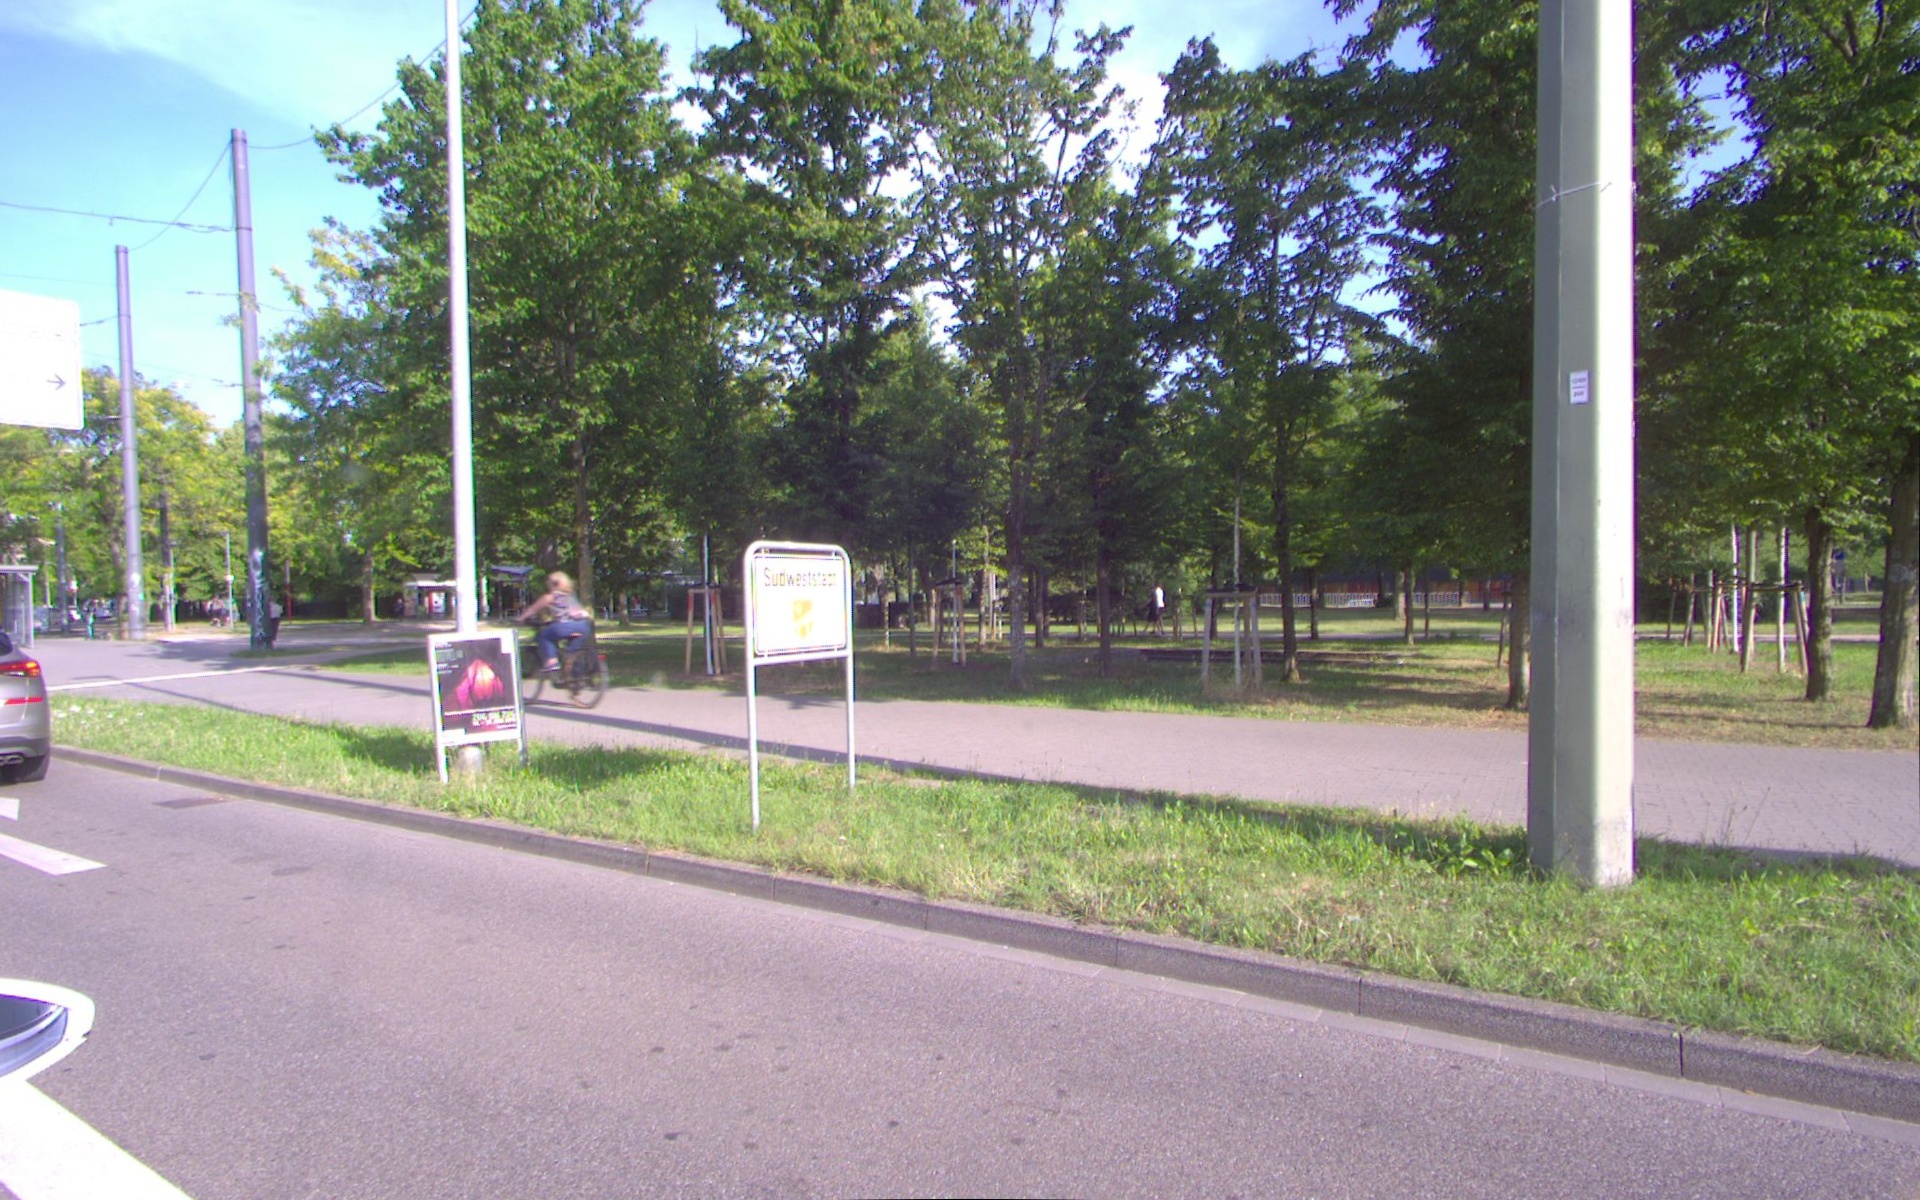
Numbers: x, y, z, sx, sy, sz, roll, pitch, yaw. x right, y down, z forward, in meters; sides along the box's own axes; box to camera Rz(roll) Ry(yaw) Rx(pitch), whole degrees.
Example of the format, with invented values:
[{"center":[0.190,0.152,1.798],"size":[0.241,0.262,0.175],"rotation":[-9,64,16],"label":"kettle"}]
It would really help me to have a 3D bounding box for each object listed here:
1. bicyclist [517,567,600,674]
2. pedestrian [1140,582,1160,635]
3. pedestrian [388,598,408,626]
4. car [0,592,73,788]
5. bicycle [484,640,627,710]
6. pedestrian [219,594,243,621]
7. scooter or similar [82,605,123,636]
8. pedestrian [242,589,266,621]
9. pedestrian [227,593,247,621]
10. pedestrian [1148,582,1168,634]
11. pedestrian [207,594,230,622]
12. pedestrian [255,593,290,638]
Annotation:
[{"center":[-4.976,0.250,12.426],"size":[0.856,1.279,0.533],"rotation":[0,1,32],"label":"bicyclist"},{"center":[6.619,0.282,34.850],"size":[0.617,1.836,0.502],"rotation":[-1,1,6],"label":"pedestrian"},{"center":[-34.378,0.735,61.265],"size":[0.792,1.659,0.832],"rotation":[0,1,38],"label":"pedestrian"},{"center":[-9.980,0.794,9.136],"size":[3.595,1.673,1.880],"rotation":[-1,1,32],"label":"car"},{"center":[-5.092,0.912,12.542],"size":[2.138,0.767,0.494],"rotation":[-1,2,33],"label":"bicycle"},{"center":[-41.104,0.406,56.448],"size":[0.688,1.508,0.813],"rotation":[0,1,22],"label":"pedestrian"},{"center":[-31.581,0.762,36.868],"size":[1.305,1.132,0.420],"rotation":[-1,1,13],"label":"scooter or similar"},{"center":[-40.261,0.284,57.134],"size":[0.826,1.809,0.798],"rotation":[0,1,28],"label":"pedestrian"},{"center":[-40.000,0.397,55.403],"size":[0.804,1.508,0.696],"rotation":[-2,1,-33],"label":"pedestrian"},{"center":[7.026,0.274,35.550],"size":[0.617,1.836,0.502],"rotation":[-1,1,3],"label":"pedestrian"},{"center":[-41.040,0.451,55.421],"size":[0.687,1.508,0.815],"rotation":[-1,1,-9],"label":"pedestrian"},{"center":[-25.655,0.580,37.366],"size":[0.793,1.659,0.754],"rotation":[-1,1,-7],"label":"pedestrian"}]
